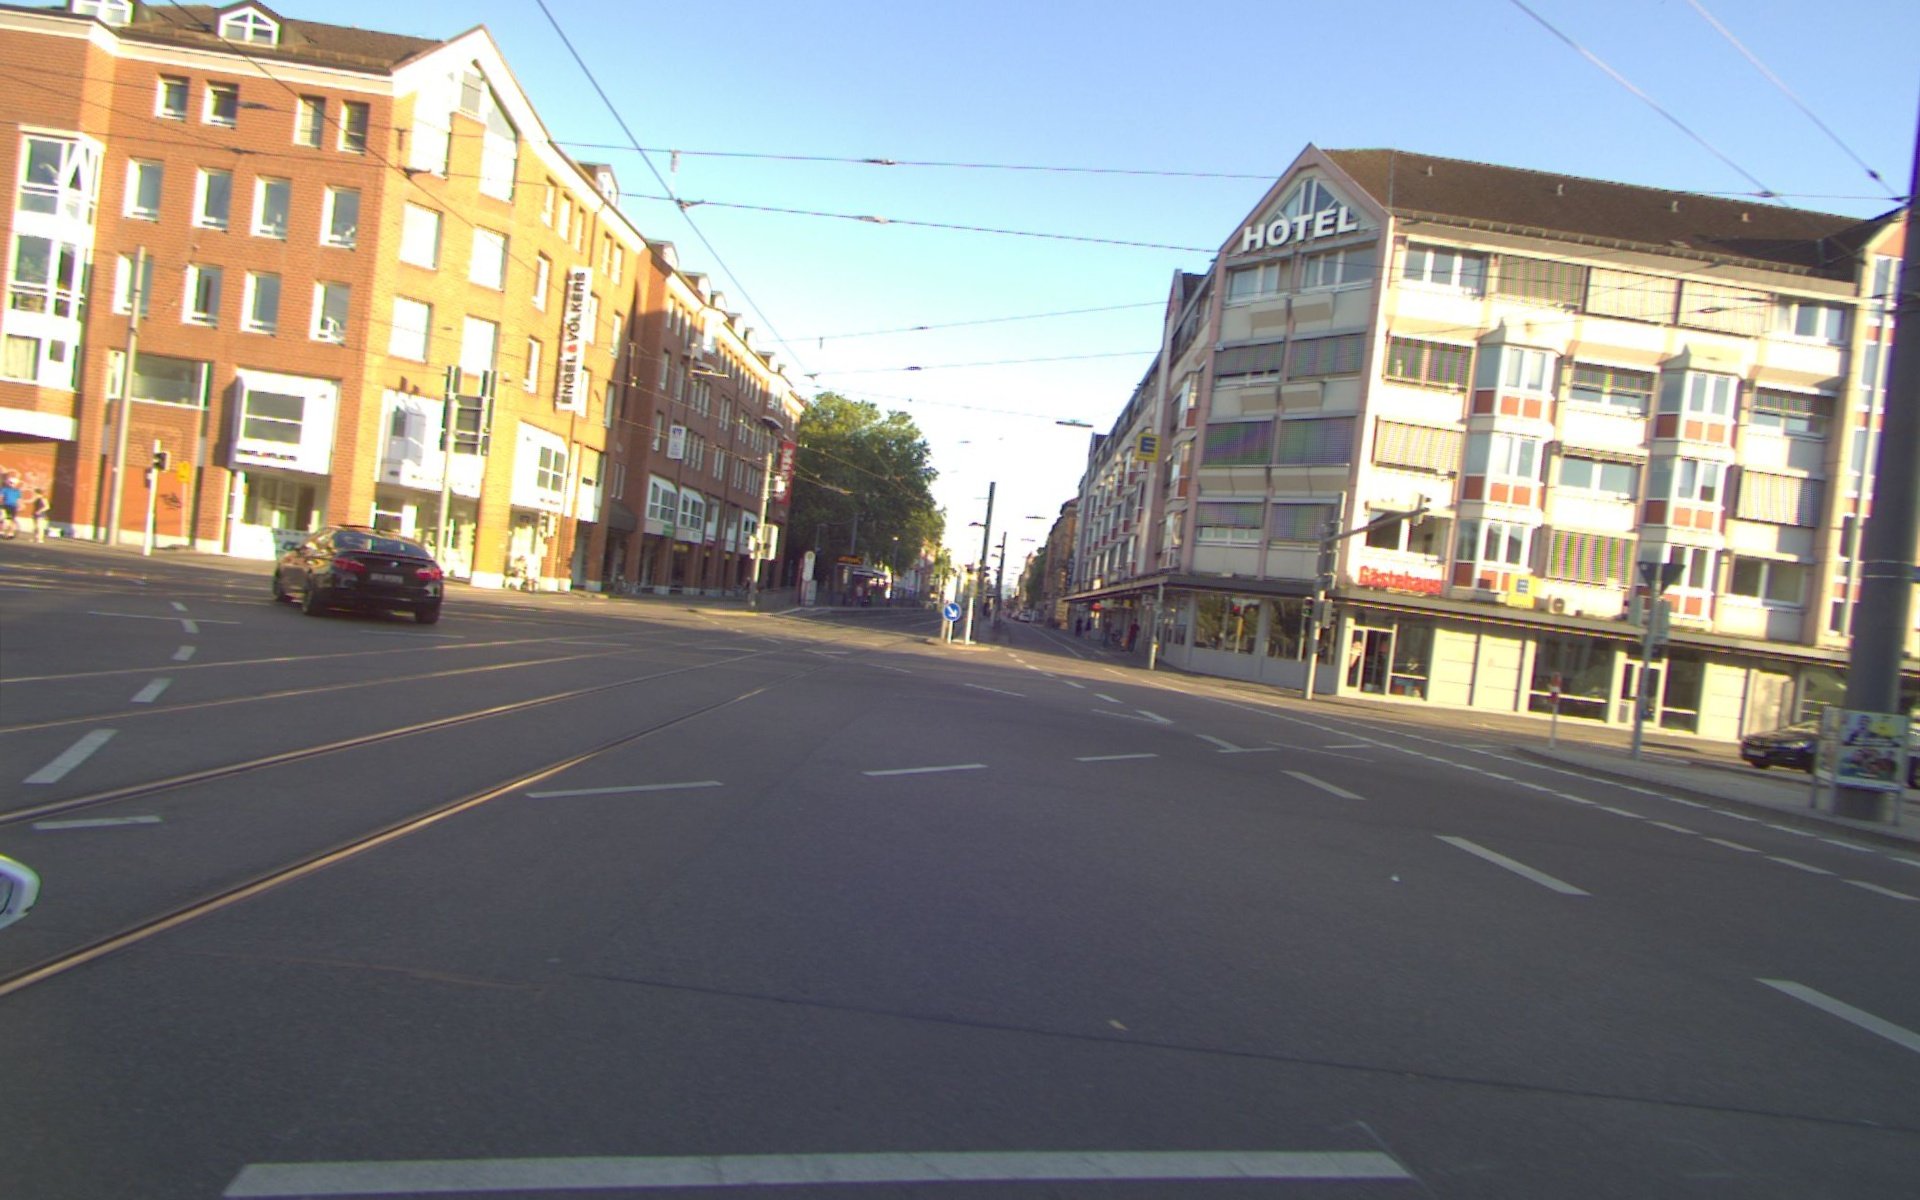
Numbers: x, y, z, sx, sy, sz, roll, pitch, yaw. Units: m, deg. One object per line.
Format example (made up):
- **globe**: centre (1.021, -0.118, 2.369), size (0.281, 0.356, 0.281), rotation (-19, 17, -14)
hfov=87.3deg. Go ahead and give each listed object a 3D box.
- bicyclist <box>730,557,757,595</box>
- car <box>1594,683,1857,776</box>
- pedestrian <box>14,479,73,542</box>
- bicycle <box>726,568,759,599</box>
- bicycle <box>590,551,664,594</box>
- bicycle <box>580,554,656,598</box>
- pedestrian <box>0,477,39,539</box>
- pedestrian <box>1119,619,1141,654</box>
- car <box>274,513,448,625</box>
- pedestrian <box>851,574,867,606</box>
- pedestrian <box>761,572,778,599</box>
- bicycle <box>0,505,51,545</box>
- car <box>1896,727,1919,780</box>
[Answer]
- **bicyclist**: centre (-15.245, -1.670, 70.933), size (1.270, 2.500, 1.667), rotation (7, 1, 0)
- **car**: centre (18.544, 3.105, 24.607), size (4.524, 1.574, 2.225), rotation (6, -1, 6)
- **pedestrian**: centre (-28.510, -2.774, 31.311), size (0.858, 1.801, 0.916), rotation (6, 1, -7)
- **bicycle**: centre (-15.315, -1.144, 71.049), size (1.275, 2.039, 3.947), rotation (7, 0, 0)
- **bicycle**: centre (-16.821, -1.362, 50.856), size (3.247, 1.748, 1.069), rotation (7, 1, 0)
- **bicycle**: centre (-16.880, -1.170, 49.693), size (3.246, 1.748, 1.069), rotation (7, 1, 1)
- **pedestrian**: centre (-29.248, -2.835, 31.145), size (0.628, 1.801, 0.813), rotation (6, 1, -9)
- **pedestrian**: centre (8.332, 1.788, 49.223), size (0.695, 1.570, 0.905), rotation (8, 4, -1)
- **car**: centre (-10.250, -0.583, 17.065), size (1.832, 1.514, 4.244), rotation (5, 1, -40)
- **pedestrian**: centre (-6.768, -0.690, 67.383), size (0.796, 2.039, 0.677), rotation (6, 1, -2)
- **pedestrian**: centre (-15.380, -1.186, 81.260), size (1.069, 2.039, 1.083), rotation (7, 1, -3)
- **bicycle**: centre (-29.423, -2.391, 30.246), size (3.011, 1.030, 0.930), rotation (7, 1, -8)
- **car**: centre (29.151, 4.621, 28.443), size (3.827, 1.440, 1.648), rotation (7, 0, -4)
